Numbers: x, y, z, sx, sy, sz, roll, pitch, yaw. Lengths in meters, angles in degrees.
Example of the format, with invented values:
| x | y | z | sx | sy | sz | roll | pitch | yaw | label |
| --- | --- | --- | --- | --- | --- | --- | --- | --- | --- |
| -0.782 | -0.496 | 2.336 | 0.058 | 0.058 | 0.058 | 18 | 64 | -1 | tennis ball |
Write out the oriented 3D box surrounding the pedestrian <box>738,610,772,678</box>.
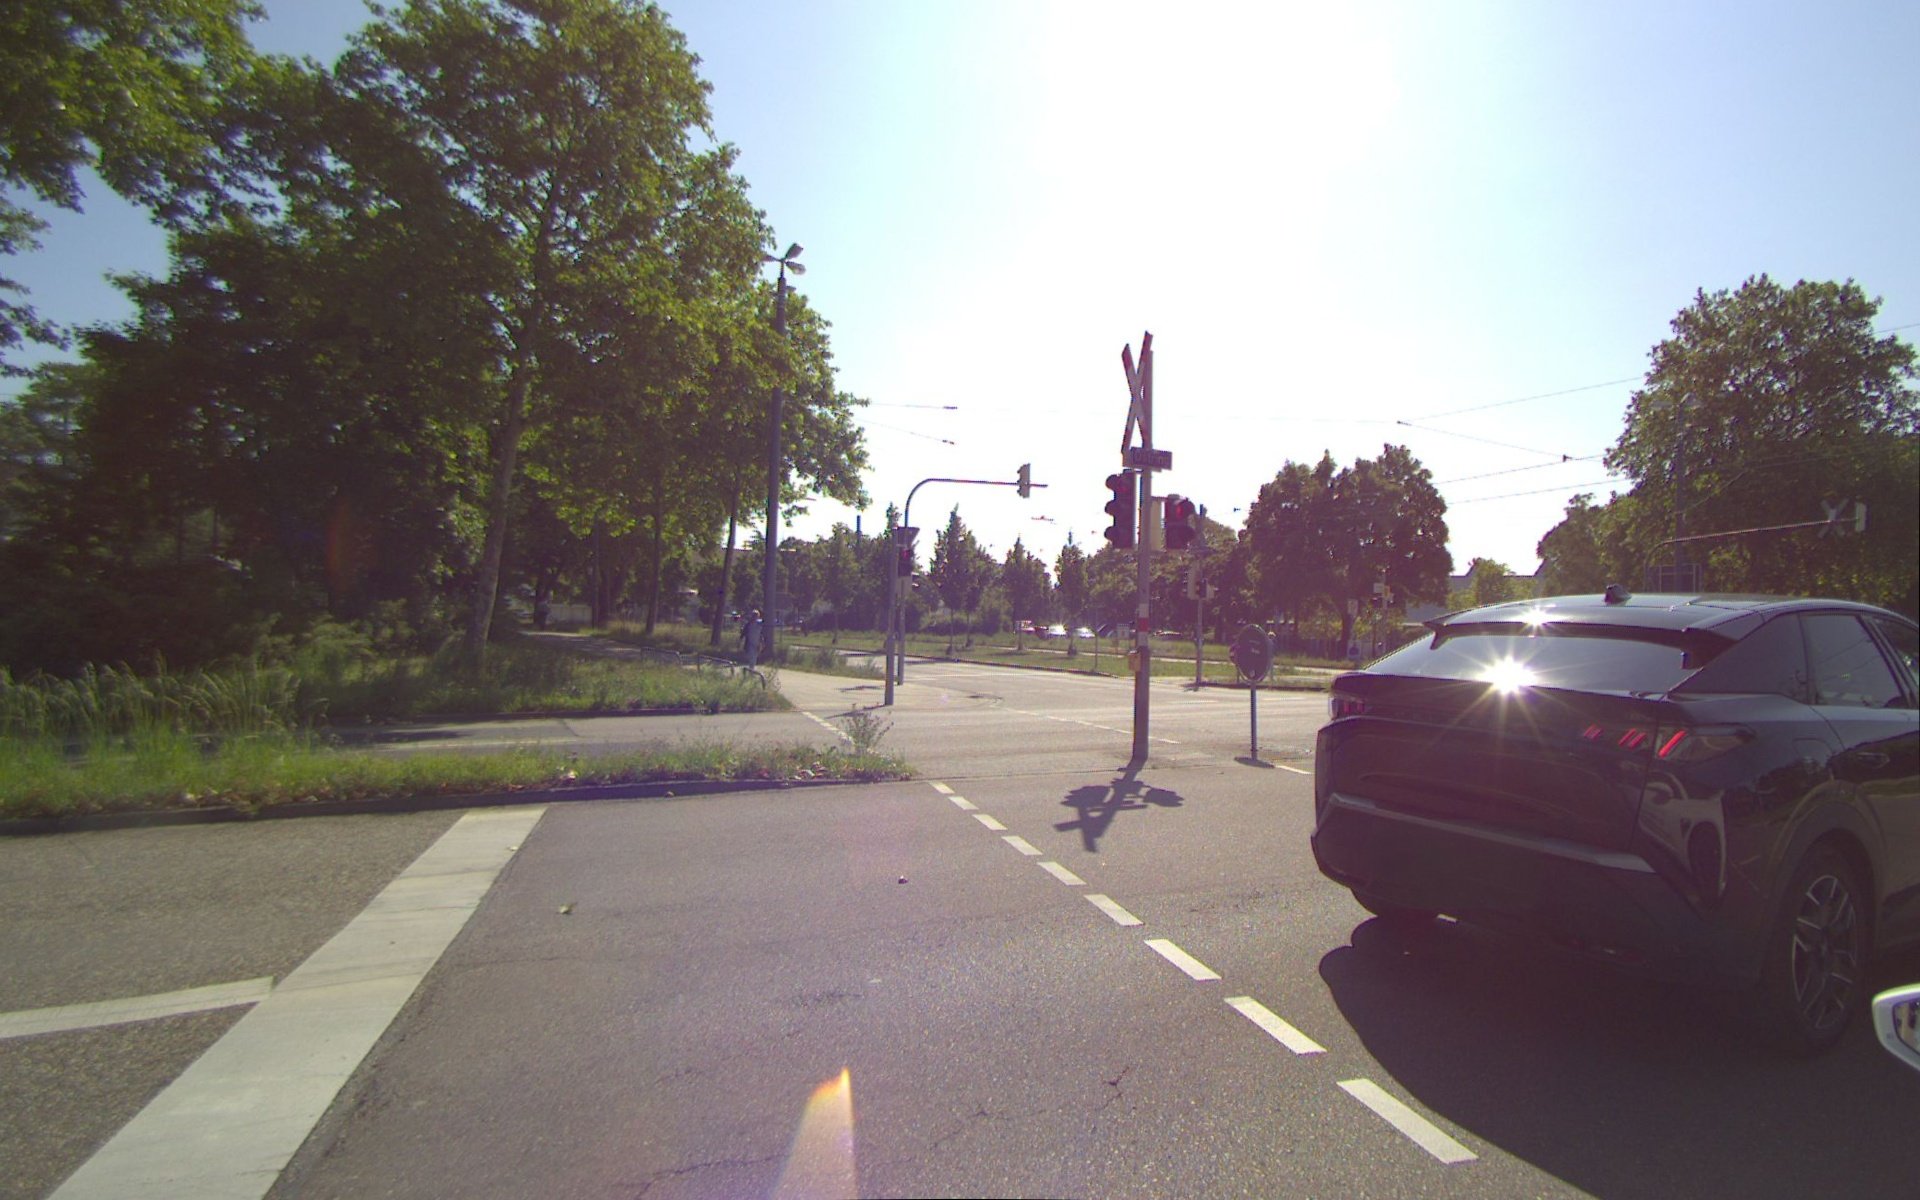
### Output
| x | y | z | sx | sy | sz | roll | pitch | yaw | label |
| --- | --- | --- | --- | --- | --- | --- | --- | --- | --- |
| -4.780 | 1.020 | 23.419 | 0.563 | 1.554 | 0.601 | 2 | -1 | -35 | pedestrian |

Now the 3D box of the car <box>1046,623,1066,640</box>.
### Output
| x | y | z | sx | sy | sz | roll | pitch | yaw | label |
| --- | --- | --- | --- | --- | --- | --- | --- | --- | --- |
| 8.581 | 2.774 | 89.931 | 1.323 | 1.465 | 3.340 | 2 | -1 | -3 | car |

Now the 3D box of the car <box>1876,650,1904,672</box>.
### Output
| x | y | z | sx | sy | sz | roll | pitch | yaw | label |
| --- | --- | --- | --- | --- | --- | --- | --- | --- | --- |
| 115.698 | 7.603 | 124.987 | 2.035 | 2.647 | 7.187 | -1 | -3 | 39 | car |

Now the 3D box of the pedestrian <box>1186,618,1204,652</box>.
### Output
| x | y | z | sx | sy | sz | roll | pitch | yaw | label |
| --- | --- | --- | --- | --- | --- | --- | --- | --- | --- |
| 14.198 | 2.125 | 60.719 | 0.707 | 2.040 | 0.785 | 2 | -1 | -43 | pedestrian |

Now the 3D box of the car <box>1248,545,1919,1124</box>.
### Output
| x | y | z | sx | sy | sz | roll | pitch | yaw | label |
| --- | --- | --- | --- | --- | --- | --- | --- | --- | --- |
| 3.700 | 0.759 | 4.876 | 4.382 | 1.719 | 1.864 | 2 | 0 | -29 | car |

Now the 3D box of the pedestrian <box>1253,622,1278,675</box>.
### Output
| x | y | z | sx | sy | sz | roll | pitch | yaw | label |
| --- | --- | --- | --- | --- | --- | --- | --- | --- | --- |
| 9.245 | 1.468 | 30.394 | 0.655 | 1.581 | 0.366 | 1 | -1 | 7 | pedestrian |

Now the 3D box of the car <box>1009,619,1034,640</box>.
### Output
| x | y | z | sx | sy | sz | roll | pitch | yaw | label |
| --- | --- | --- | --- | --- | --- | --- | --- | --- | --- |
| 5.515 | 2.655 | 90.303 | 1.780 | 1.725 | 3.986 | 2 | -1 | -3 | car |

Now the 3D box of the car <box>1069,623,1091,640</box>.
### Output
| x | y | z | sx | sy | sz | roll | pitch | yaw | label |
| --- | --- | --- | --- | --- | --- | --- | --- | --- | --- |
| 10.746 | 2.798 | 89.940 | 1.420 | 1.465 | 3.340 | 2 | -1 | -3 | car |

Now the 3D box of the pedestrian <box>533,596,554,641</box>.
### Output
| x | y | z | sx | sy | sz | roll | pitch | yaw | label |
| --- | --- | --- | --- | --- | --- | --- | --- | --- | --- |
| -19.863 | 0.866 | 47.873 | 0.748 | 2.118 | 0.612 | 2 | -1 | -36 | pedestrian |

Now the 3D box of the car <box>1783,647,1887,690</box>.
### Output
| x | y | z | sx | sy | sz | roll | pitch | yaw | label |
| --- | --- | --- | --- | --- | --- | --- | --- | --- | --- |
| 33.854 | 2.636 | 38.829 | 4.607 | 1.528 | 1.686 | 2 | -2 | -30 | car |
